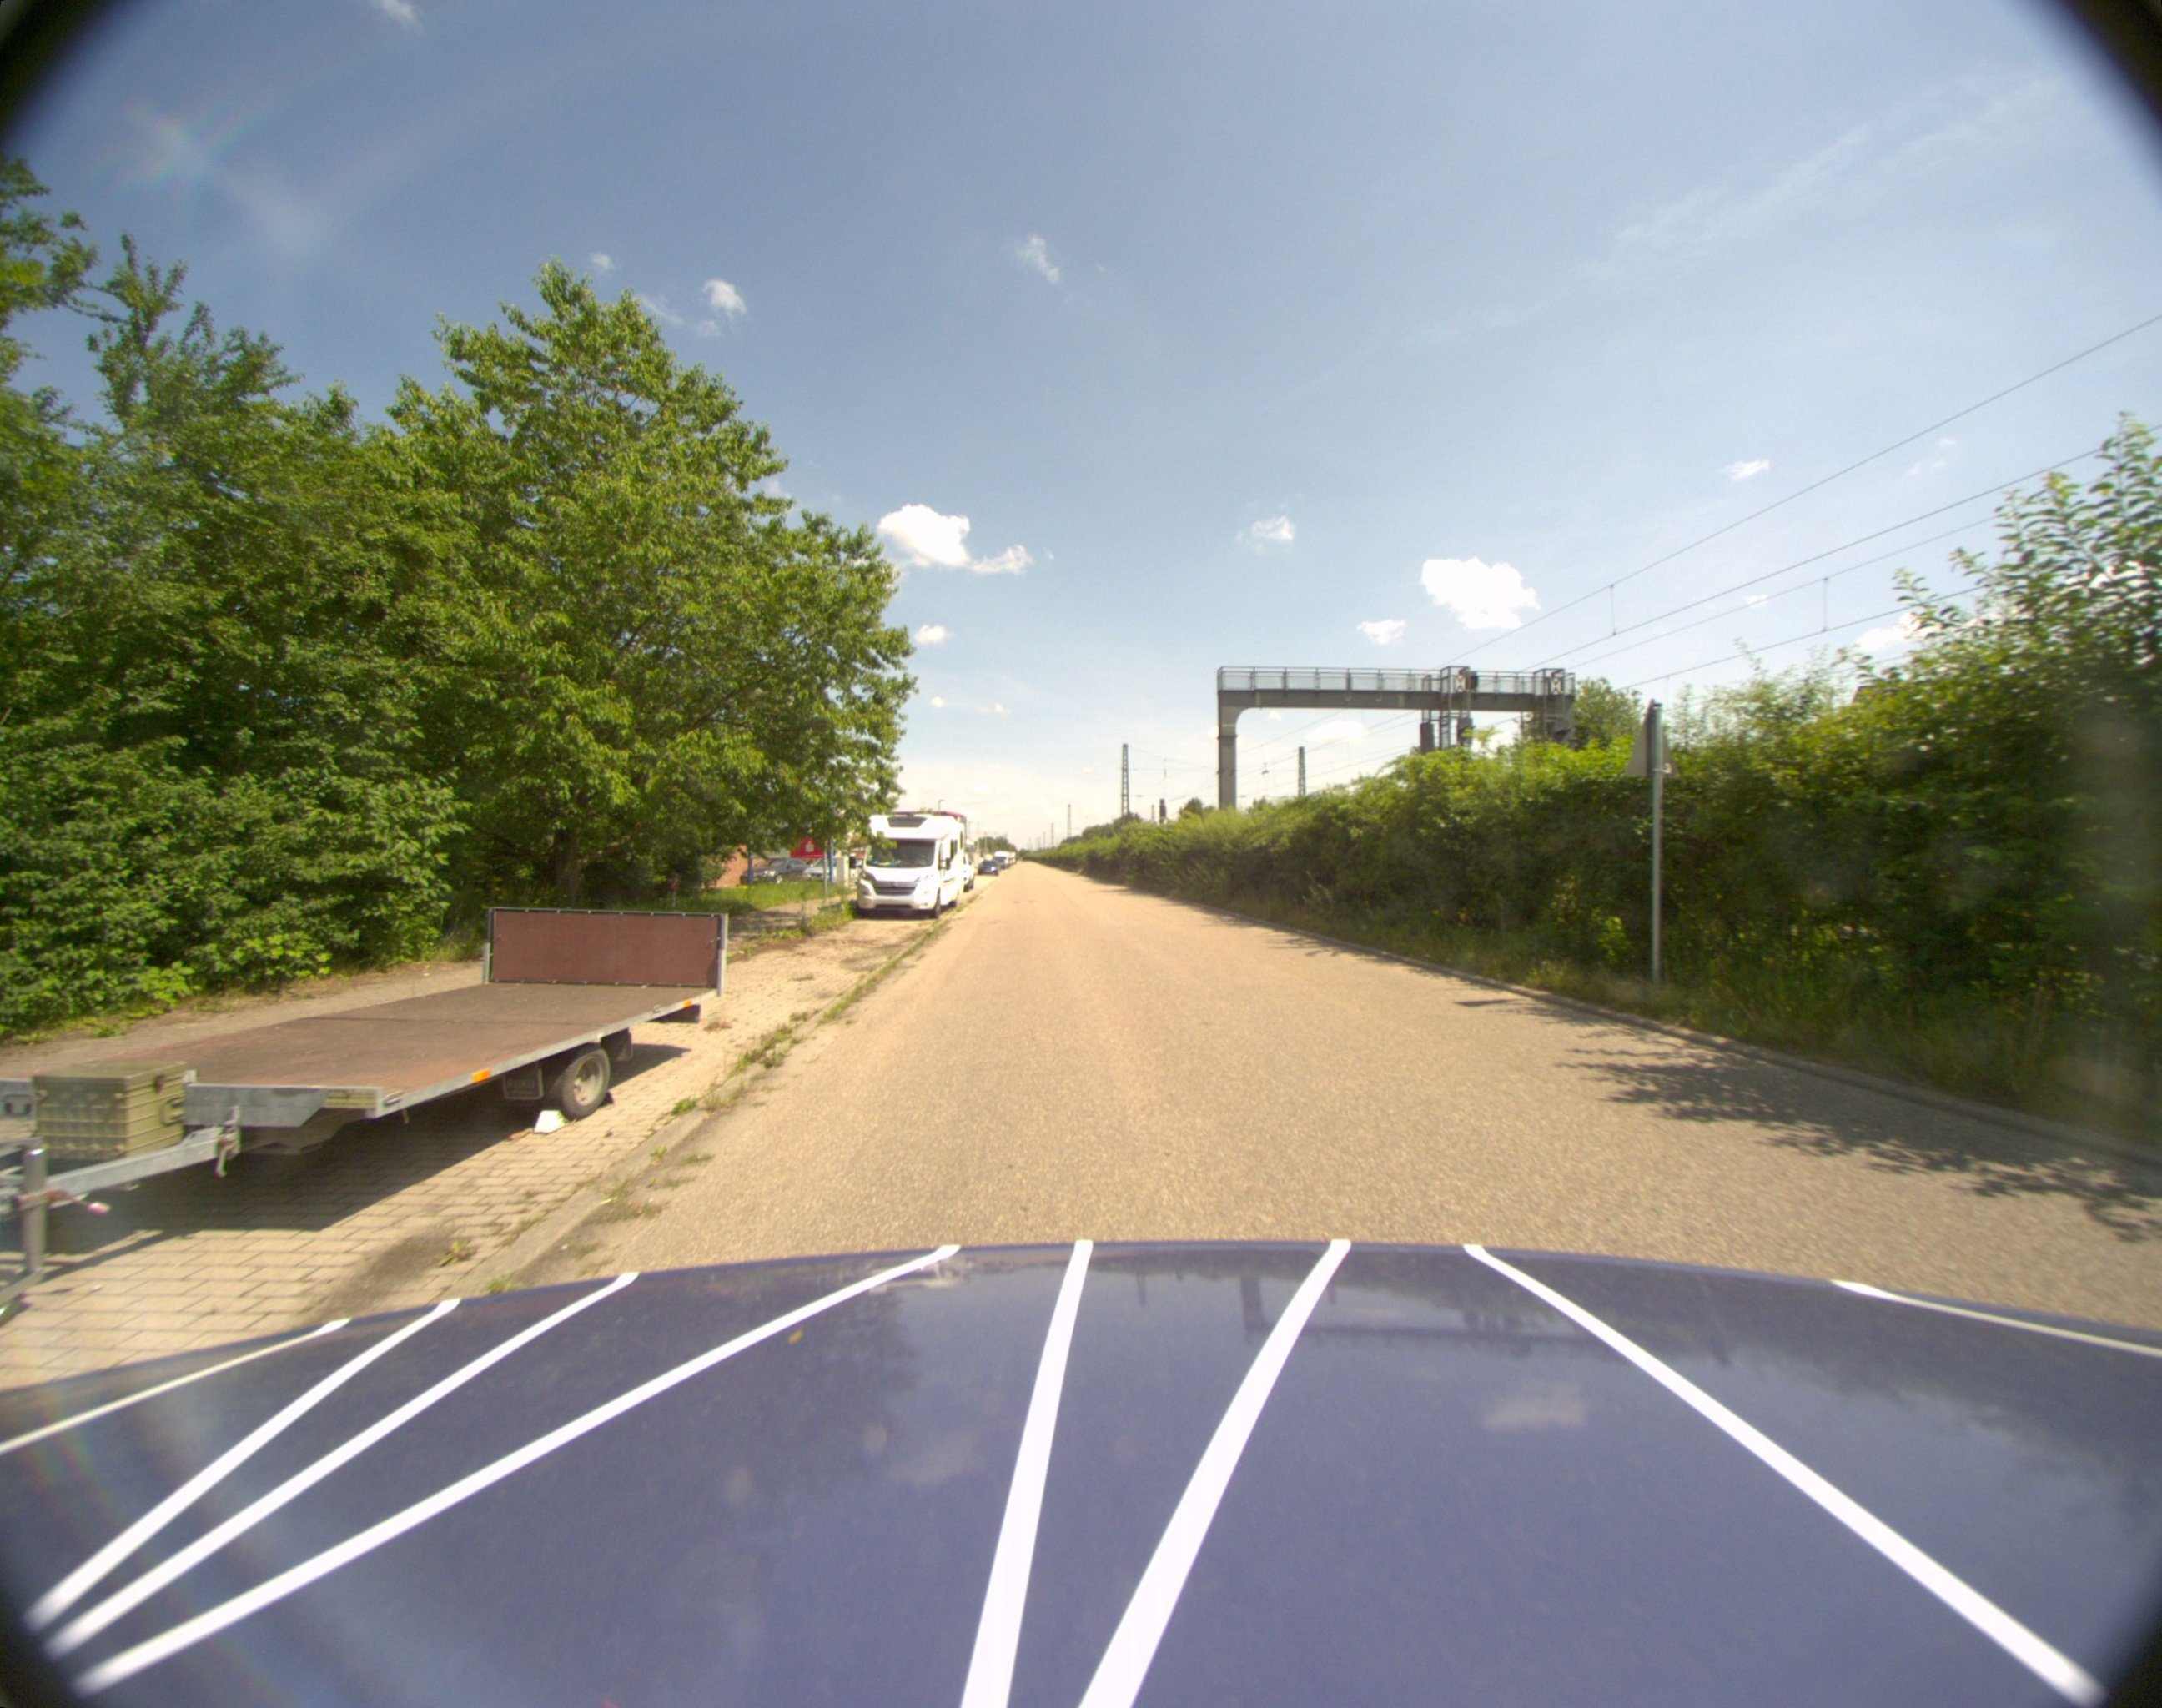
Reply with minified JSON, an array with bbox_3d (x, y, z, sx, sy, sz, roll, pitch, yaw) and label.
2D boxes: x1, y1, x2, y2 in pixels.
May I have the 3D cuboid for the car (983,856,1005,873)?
[{"bbox_3d":[-7.872,0.912,68.746,1.767,1.463,4.716,1,0,-4],"label":"car"}]

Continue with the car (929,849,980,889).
[{"bbox_3d":[-6.076,0.699,37.069,1.853,1.804,5.423,1,0,-3],"label":"car"}]

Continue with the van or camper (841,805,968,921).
[{"bbox_3d":[-4.908,0.251,22.542,2.446,2.810,7.620,1,0,-4],"label":"van or camper"}]

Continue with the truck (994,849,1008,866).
[{"bbox_3d":[-12.287,0.552,117.012,1.999,2.550,5.288,0,0,-3],"label":"truck"}]

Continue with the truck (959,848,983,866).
[{"bbox_3d":[-16.510,0.472,114.179,2.382,2.672,5.786,0,0,5],"label":"truck"}]

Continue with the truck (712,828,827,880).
[{"bbox_3d":[-20.979,0.017,51.447,6.475,3.368,3.107,0,0,4],"label":"truck"}]

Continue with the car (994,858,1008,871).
[{"bbox_3d":[-10.896,1.441,103.587,1.806,1.692,3.998,2,0,-4],"label":"car"}]

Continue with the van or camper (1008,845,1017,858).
[{"bbox_3d":[-19.368,-0.672,216.126,2.334,3.497,4.768,-2,1,-4],"label":"van or camper"}]

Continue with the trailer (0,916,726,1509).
[{"bbox_3d":[-3.824,1.096,3.834,2.010,1.116,4.488,2,0,-1],"label":"trailer"}]
